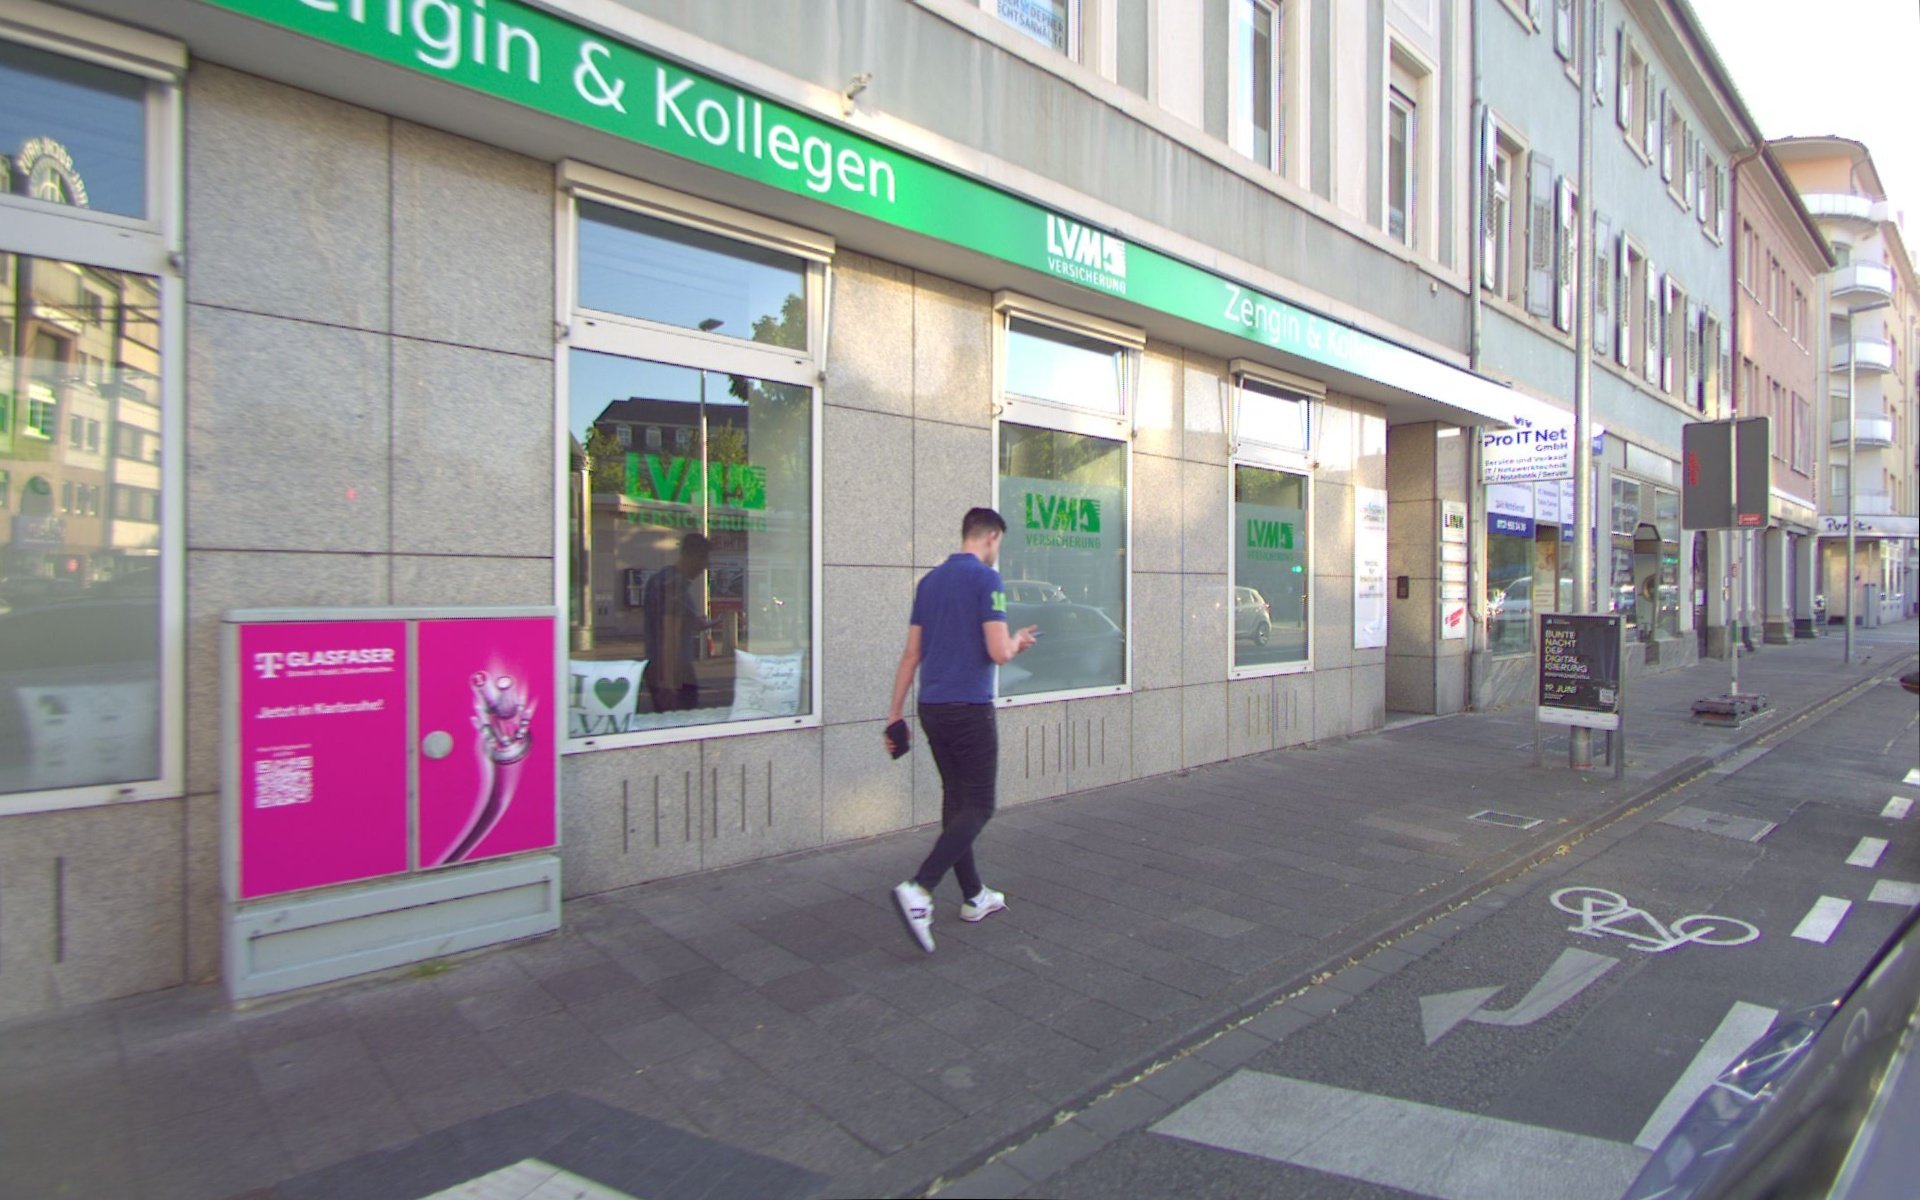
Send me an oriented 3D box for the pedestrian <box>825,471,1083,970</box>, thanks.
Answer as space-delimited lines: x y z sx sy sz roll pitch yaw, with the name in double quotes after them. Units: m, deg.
-0.018 0.434 4.304 0.691 1.850 0.866 1 1 44 "pedestrian"
